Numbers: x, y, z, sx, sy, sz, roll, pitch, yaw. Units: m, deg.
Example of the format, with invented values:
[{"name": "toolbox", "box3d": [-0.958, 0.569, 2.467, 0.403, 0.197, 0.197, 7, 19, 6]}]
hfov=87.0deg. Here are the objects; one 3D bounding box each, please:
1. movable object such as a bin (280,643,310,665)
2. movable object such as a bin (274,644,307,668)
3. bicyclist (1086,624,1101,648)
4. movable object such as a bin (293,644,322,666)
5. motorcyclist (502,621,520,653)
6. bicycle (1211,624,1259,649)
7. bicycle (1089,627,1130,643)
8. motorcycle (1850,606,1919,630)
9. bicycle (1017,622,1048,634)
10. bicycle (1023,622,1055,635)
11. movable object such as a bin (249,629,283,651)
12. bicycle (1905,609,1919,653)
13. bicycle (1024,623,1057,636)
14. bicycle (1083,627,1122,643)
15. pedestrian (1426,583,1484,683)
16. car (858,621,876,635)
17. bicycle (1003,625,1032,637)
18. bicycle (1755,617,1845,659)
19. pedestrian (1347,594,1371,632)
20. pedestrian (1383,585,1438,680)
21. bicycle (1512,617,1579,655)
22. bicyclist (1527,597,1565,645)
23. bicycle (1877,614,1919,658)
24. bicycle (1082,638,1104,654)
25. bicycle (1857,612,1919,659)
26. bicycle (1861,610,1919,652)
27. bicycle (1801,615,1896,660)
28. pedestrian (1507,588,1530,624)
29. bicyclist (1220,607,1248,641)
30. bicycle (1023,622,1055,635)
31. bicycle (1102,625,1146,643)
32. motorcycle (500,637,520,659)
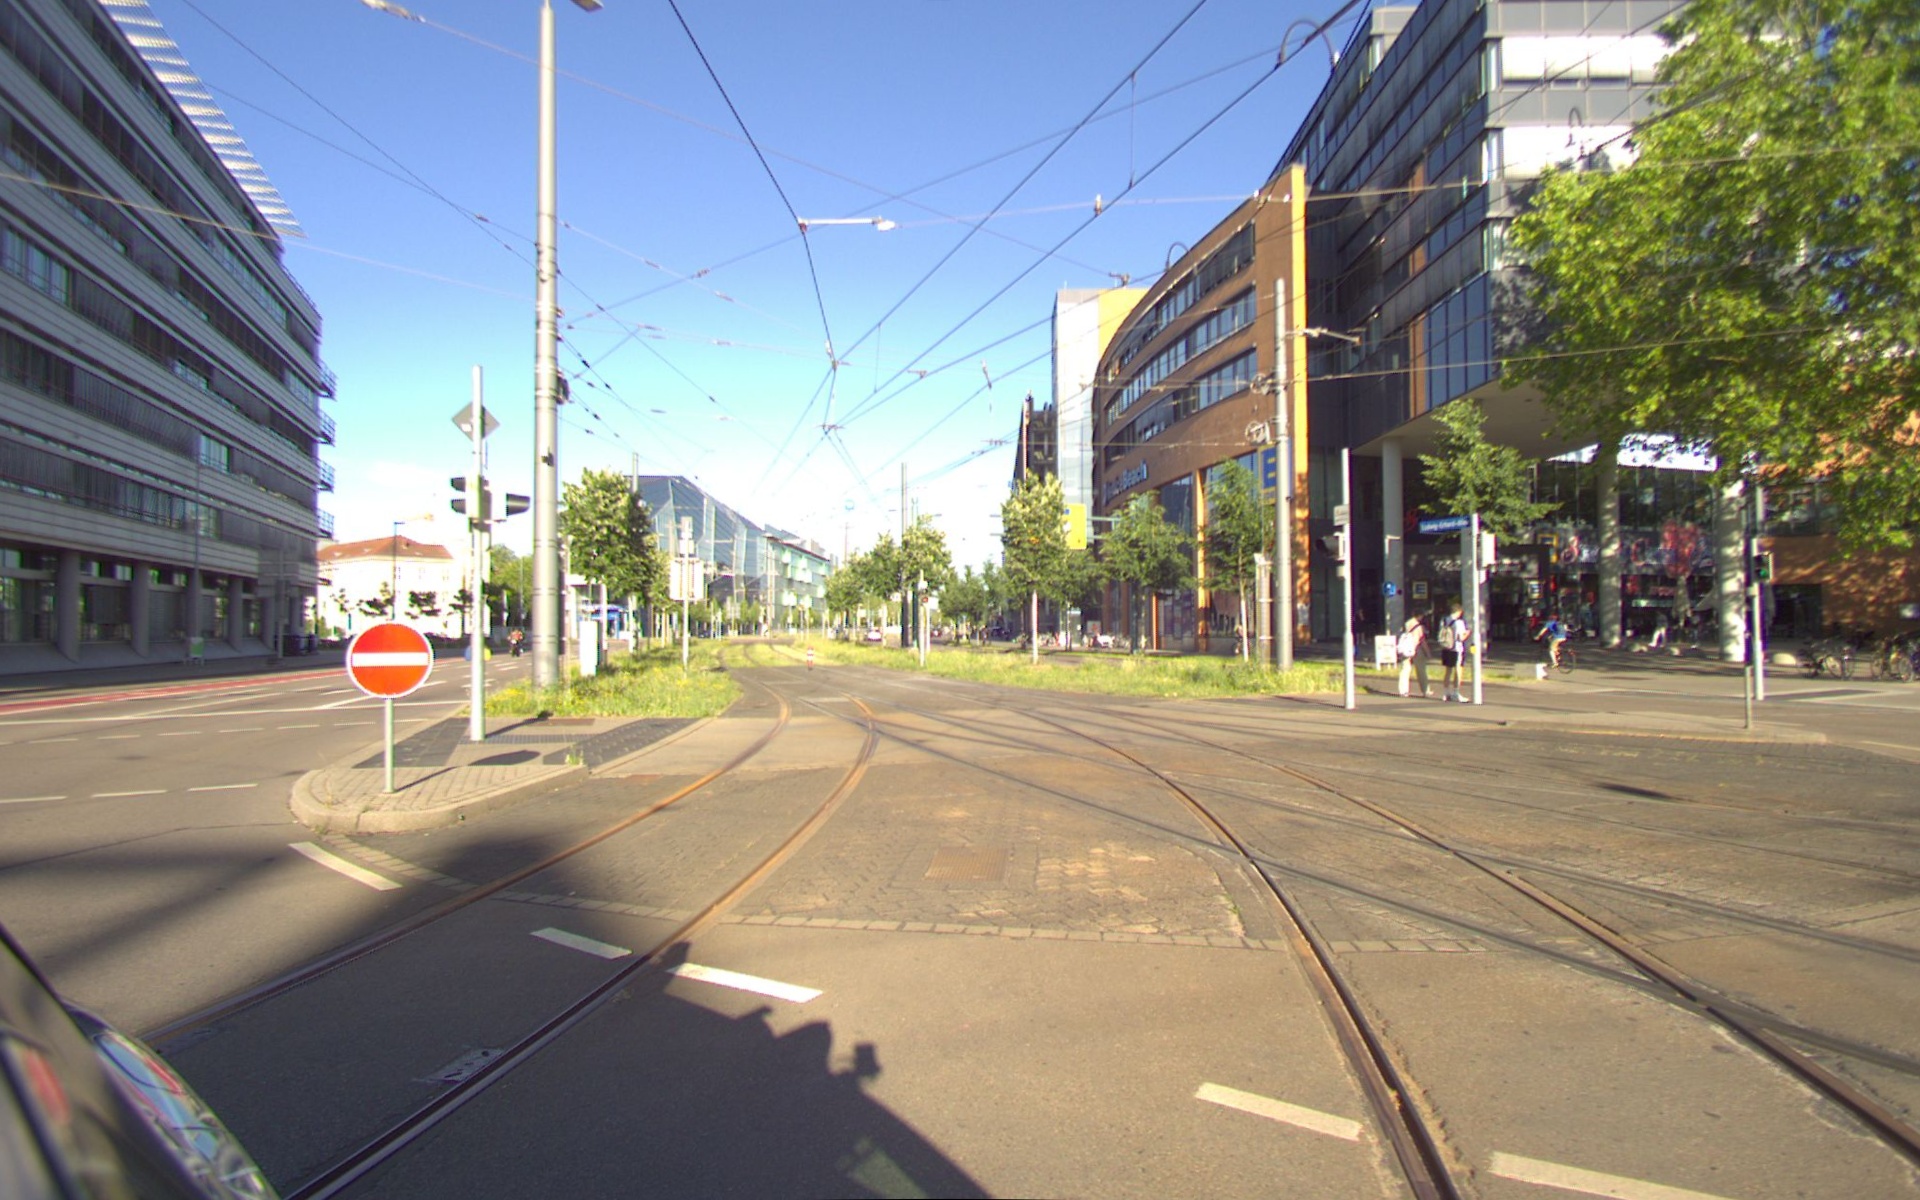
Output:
[{"name": "movable object such as a bin", "box3d": [-41.009, 3.324, 62.411, 1.154, 1.311, 1.332, 0, -1, -14]}, {"name": "movable object such as a bin", "box3d": [-39.274, 3.279, 59.383, 1.306, 1.311, 1.177, 0, -1, -15]}, {"name": "bicyclist", "box3d": [8.619, 2.306, 65.401, 0.680, 1.541, 0.705, 0, -1, -16]}, {"name": "movable object such as a bin", "box3d": [-41.151, 3.446, 63.817, 1.154, 1.311, 1.332, 0, -1, -14]}, {"name": "motorcyclist", "box3d": [-26.331, 2.148, 59.319, 0.808, 1.871, 1.116, 1, -2, -17]}, {"name": "bicycle", "box3d": [12.485, 1.658, 46.082, 0.881, 1.112, 2.699, 1, -2, -14]}, {"name": "bicycle", "box3d": [10.397, 2.459, 70.499, 2.651, 1.112, 0.896, 0, -2, -4]}, {"name": "motorcycle", "box3d": [41.632, 0.828, 45.587, 0.819, 1.066, 2.346, 0, -1, -7]}, {"name": "bicycle", "box3d": [6.501, 2.537, 90.941, 2.651, 1.112, 0.896, 0, -2, -4]}, {"name": "bicycle", "box3d": [6.786, 2.491, 87.296, 2.651, 1.112, 0.896, 0, -2, -4]}, {"name": "movable object such as a bin", "box3d": [-40.628, 2.335, 59.266, 1.306, 1.311, 1.177, 0, -1, -15]}, {"name": "bicycle", "box3d": [25.711, 0.802, 26.253, 2.327, 1.137, 0.600, 1, -2, -16]}, {"name": "bicycle", "box3d": [6.784, 2.473, 85.350, 2.651, 1.112, 0.896, 0, -2, -4]}, {"name": "bicycle", "box3d": [10.102, 2.491, 71.810, 2.651, 1.112, 0.896, 0, -2, -4]}, {"name": "pedestrian", "box3d": [9.537, 0.636, 19.503, 0.721, 1.884, 0.675, 1, -2, -18]}, {"name": "car", "box3d": [-10.545, 3.154, 114.773, 1.601, 1.539, 4.813, 0, -1, -10]}, {"name": "bicycle", "box3d": [5.485, 2.946, 96.515, 2.651, 1.112, 0.896, 0, -2, -4]}, {"name": "bicycle", "box3d": [22.969, 1.041, 27.672, 2.327, 1.137, 0.600, 1, -2, -14]}, {"name": "pedestrian", "box3d": [18.285, 0.617, 46.410, 0.721, 1.718, 0.701, 1, -2, -16]}, {"name": "pedestrian", "box3d": [9.110, 0.656, 20.500, 0.721, 1.884, 0.701, 1, -2, -16]}, {"name": "bicycle", "box3d": [18.370, 1.110, 31.778, 0.682, 1.145, 1.856, 1, -1, -15]}, {"name": "bicyclist", "box3d": [18.377, 0.651, 31.754, 0.682, 1.472, 0.756, 1, -1, -15]}, {"name": "bicycle", "box3d": [25.596, 0.957, 26.910, 2.327, 1.137, 0.600, 1, -2, -16]}, {"name": "bicycle", "box3d": [8.604, 2.983, 65.462, 0.680, 0.957, 2.073, 0, -1, -16]}, {"name": "bicycle", "box3d": [23.309, 0.878, 24.928, 2.327, 1.137, 0.600, 1, -2, -14]}, {"name": "bicycle", "box3d": [26.017, 0.860, 27.888, 2.327, 1.137, 0.600, 1, -2, -16]}, {"name": "bicycle", "box3d": [22.894, 0.962, 26.067, 2.327, 1.137, 0.600, 1, -2, -14]}, {"name": "pedestrian", "box3d": [25.852, 0.271, 46.854, 0.696, 1.665, 0.698, 0, -1, 3]}, {"name": "bicyclist", "box3d": [12.491, 1.099, 46.105, 0.881, 1.560, 0.941, 0, -2, -13]}, {"name": "bicycle", "box3d": [6.968, 2.508, 89.063, 2.651, 1.112, 0.896, 0, -2, -4]}, {"name": "bicycle", "box3d": [10.676, 2.220, 65.829, 2.651, 1.112, 0.896, 0, -2, -4]}, {"name": "motorcycle", "box3d": [-26.308, 2.822, 59.200, 0.808, 1.230, 2.262, 1, -2, -18]}]
